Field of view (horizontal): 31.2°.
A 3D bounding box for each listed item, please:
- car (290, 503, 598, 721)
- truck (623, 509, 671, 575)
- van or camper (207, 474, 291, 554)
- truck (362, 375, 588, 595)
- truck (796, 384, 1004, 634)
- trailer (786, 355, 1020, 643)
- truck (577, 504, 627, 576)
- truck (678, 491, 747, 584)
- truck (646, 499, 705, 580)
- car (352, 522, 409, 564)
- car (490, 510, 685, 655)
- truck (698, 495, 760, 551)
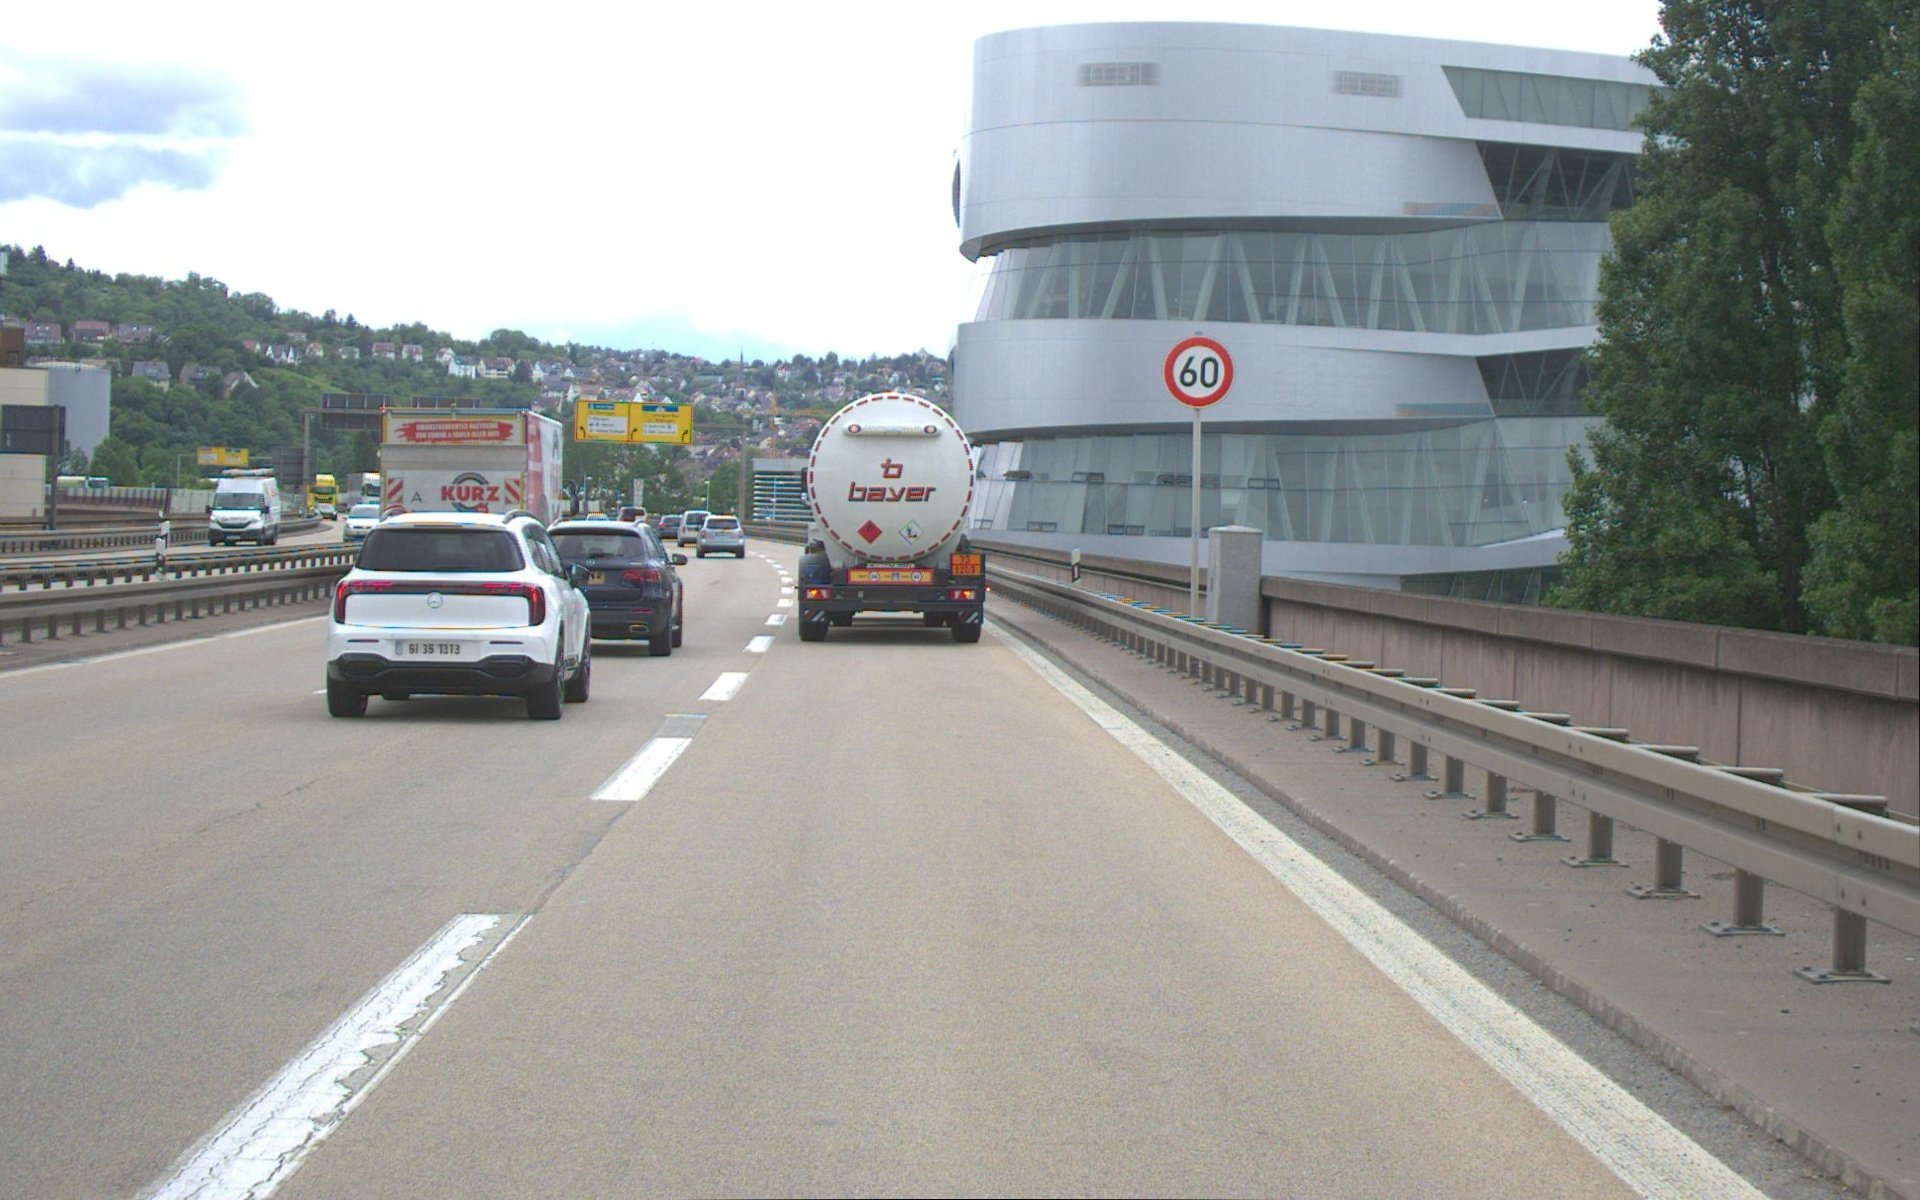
[{"bbox_3d":[-4.252,0.071,28.979,1.993,1.669,4.408,1,1,-1],"label":"car"},{"bbox_3d":[-22.117,-4.096,242.619,3.056,4.546,8.305,1,1,-7],"label":"truck"},{"bbox_3d":[-27.499,-3.324,133.155,2.171,2.998,7.119,1,1,-3],"label":"van or camper"},{"bbox_3d":[-8.688,-2.009,62.590,3.057,3.678,8.304,1,1,-1],"label":"truck"},{"bbox_3d":[-0.902,-1.381,53.855,3.014,3.644,6.273,1,1,0],"label":"truck"},{"bbox_3d":[-0.846,-1.396,49.811,3.057,3.777,8.304,1,1,-1],"label":"trailer"},{"bbox_3d":[-23.454,-3.913,224.788,3.056,4.546,8.305,1,1,-7],"label":"truck"},{"bbox_3d":[-12.640,-3.165,174.810,3.056,4.546,8.305,1,1,-7],"label":"truck"},{"bbox_3d":[-16.529,-3.506,199.085,3.056,4.546,8.305,1,1,-7],"label":"truck"},{"bbox_3d":[-23.851,-2.348,141.619,1.683,1.644,4.313,2,1,-2],"label":"car"},{"bbox_3d":[-4.543,-0.234,42.522,1.993,1.669,4.408,1,1,-1],"label":"car"},{"bbox_3d":[-9.152,-3.045,136.529,2.255,2.156,5.069,1,1,-2],"label":"truck"}]
